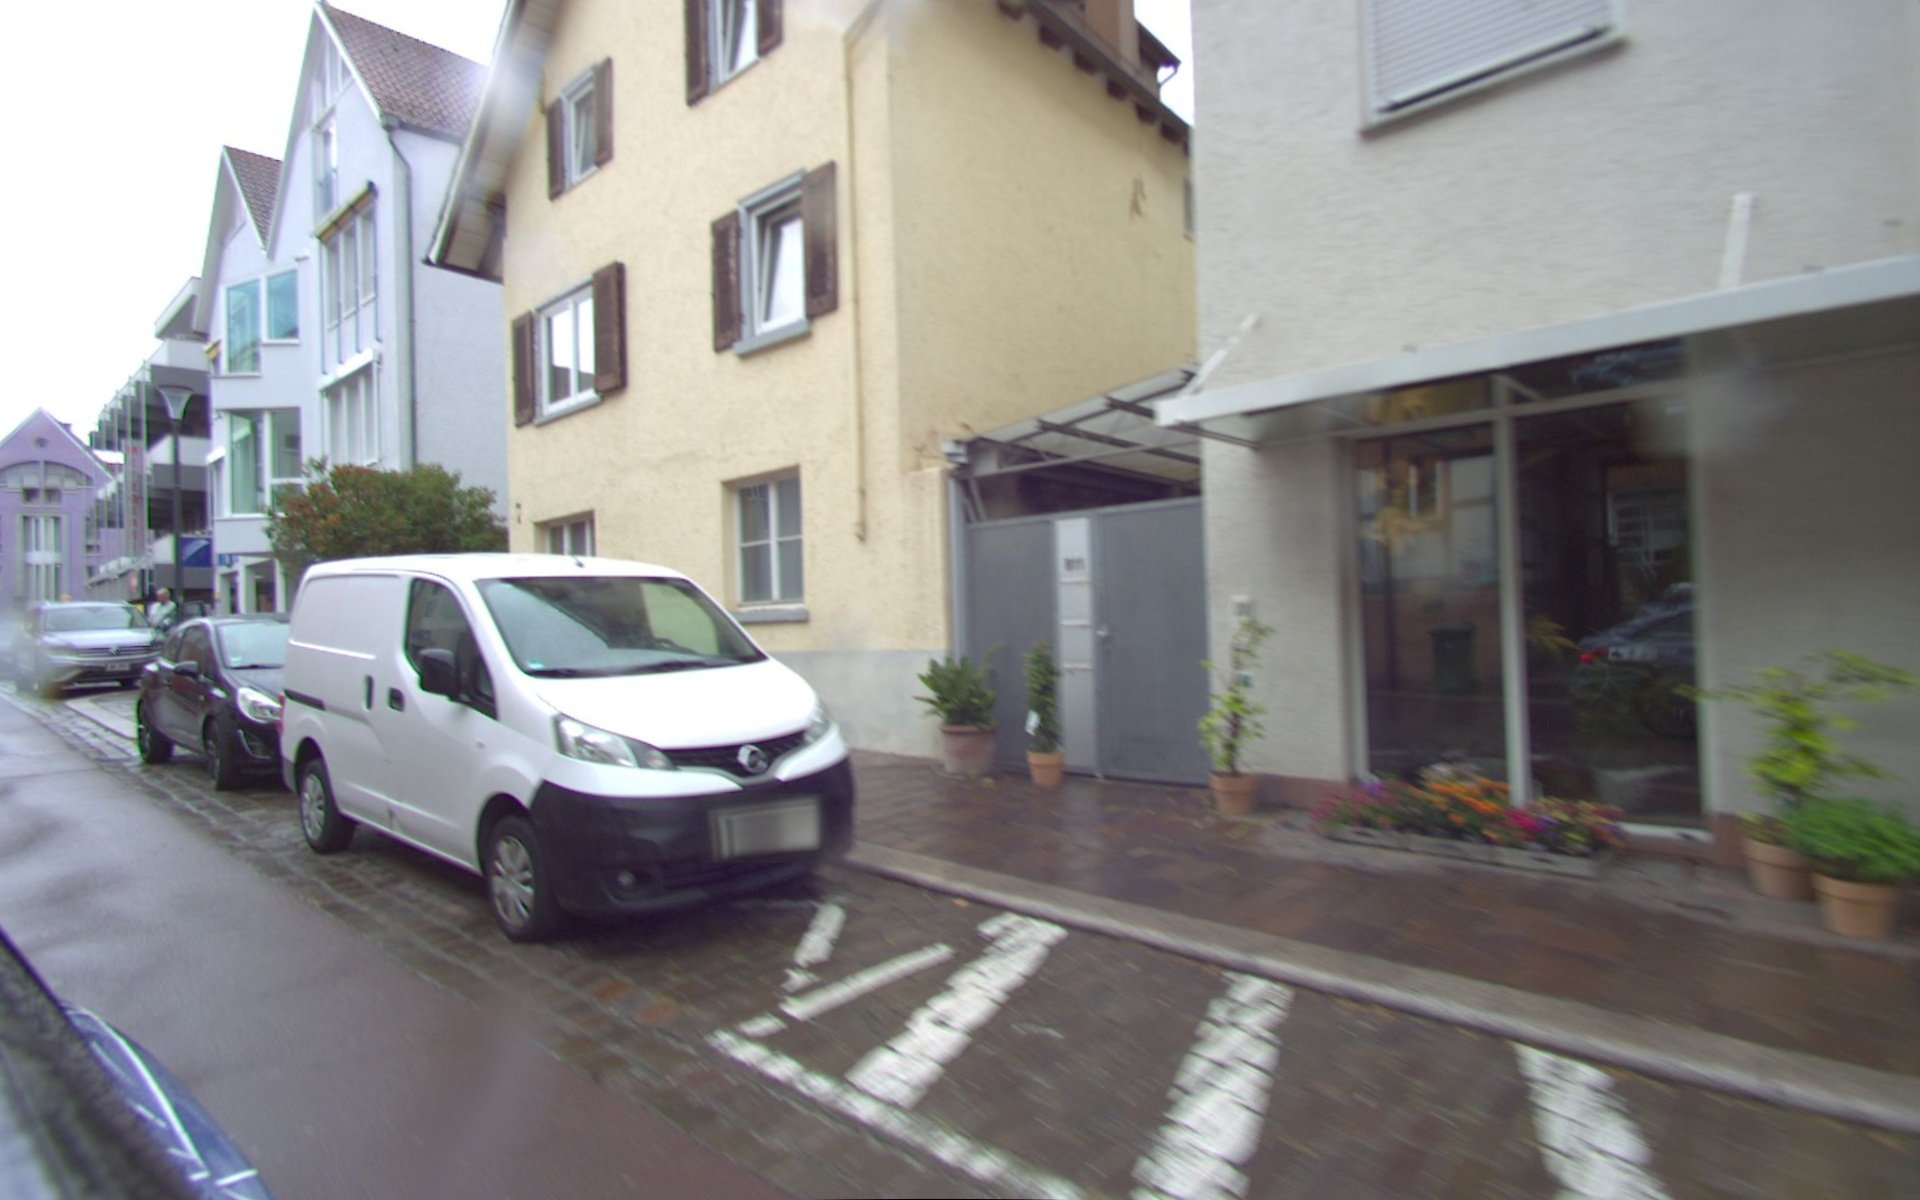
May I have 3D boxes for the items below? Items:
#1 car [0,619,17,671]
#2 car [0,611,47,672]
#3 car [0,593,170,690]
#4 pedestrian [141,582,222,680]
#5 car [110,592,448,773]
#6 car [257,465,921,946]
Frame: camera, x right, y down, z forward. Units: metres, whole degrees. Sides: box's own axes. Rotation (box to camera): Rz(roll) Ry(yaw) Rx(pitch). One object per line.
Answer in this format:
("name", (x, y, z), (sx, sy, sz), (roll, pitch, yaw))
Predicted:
("car", (-31.292, 1.440, 32.034), (3.999, 1.562, 1.772), (-1, 1, 42))
("car", (-25.597, 1.122, 26.767), (4.764, 1.510, 1.810), (-3, -2, 44))
("car", (-16.151, 0.690, 18.596), (4.405, 1.580, 1.761), (-1, 0, 41))
("pedestrian", (-15.099, 0.590, 19.628), (1.116, 1.820, 1.024), (-3, -1, 42))
("car", (-6.640, 0.654, 9.730), (3.821, 1.399, 1.664), (-1, 0, 39))
("car", (-2.439, 0.415, 5.959), (4.425, 1.839, 1.706), (-1, 0, 40))
